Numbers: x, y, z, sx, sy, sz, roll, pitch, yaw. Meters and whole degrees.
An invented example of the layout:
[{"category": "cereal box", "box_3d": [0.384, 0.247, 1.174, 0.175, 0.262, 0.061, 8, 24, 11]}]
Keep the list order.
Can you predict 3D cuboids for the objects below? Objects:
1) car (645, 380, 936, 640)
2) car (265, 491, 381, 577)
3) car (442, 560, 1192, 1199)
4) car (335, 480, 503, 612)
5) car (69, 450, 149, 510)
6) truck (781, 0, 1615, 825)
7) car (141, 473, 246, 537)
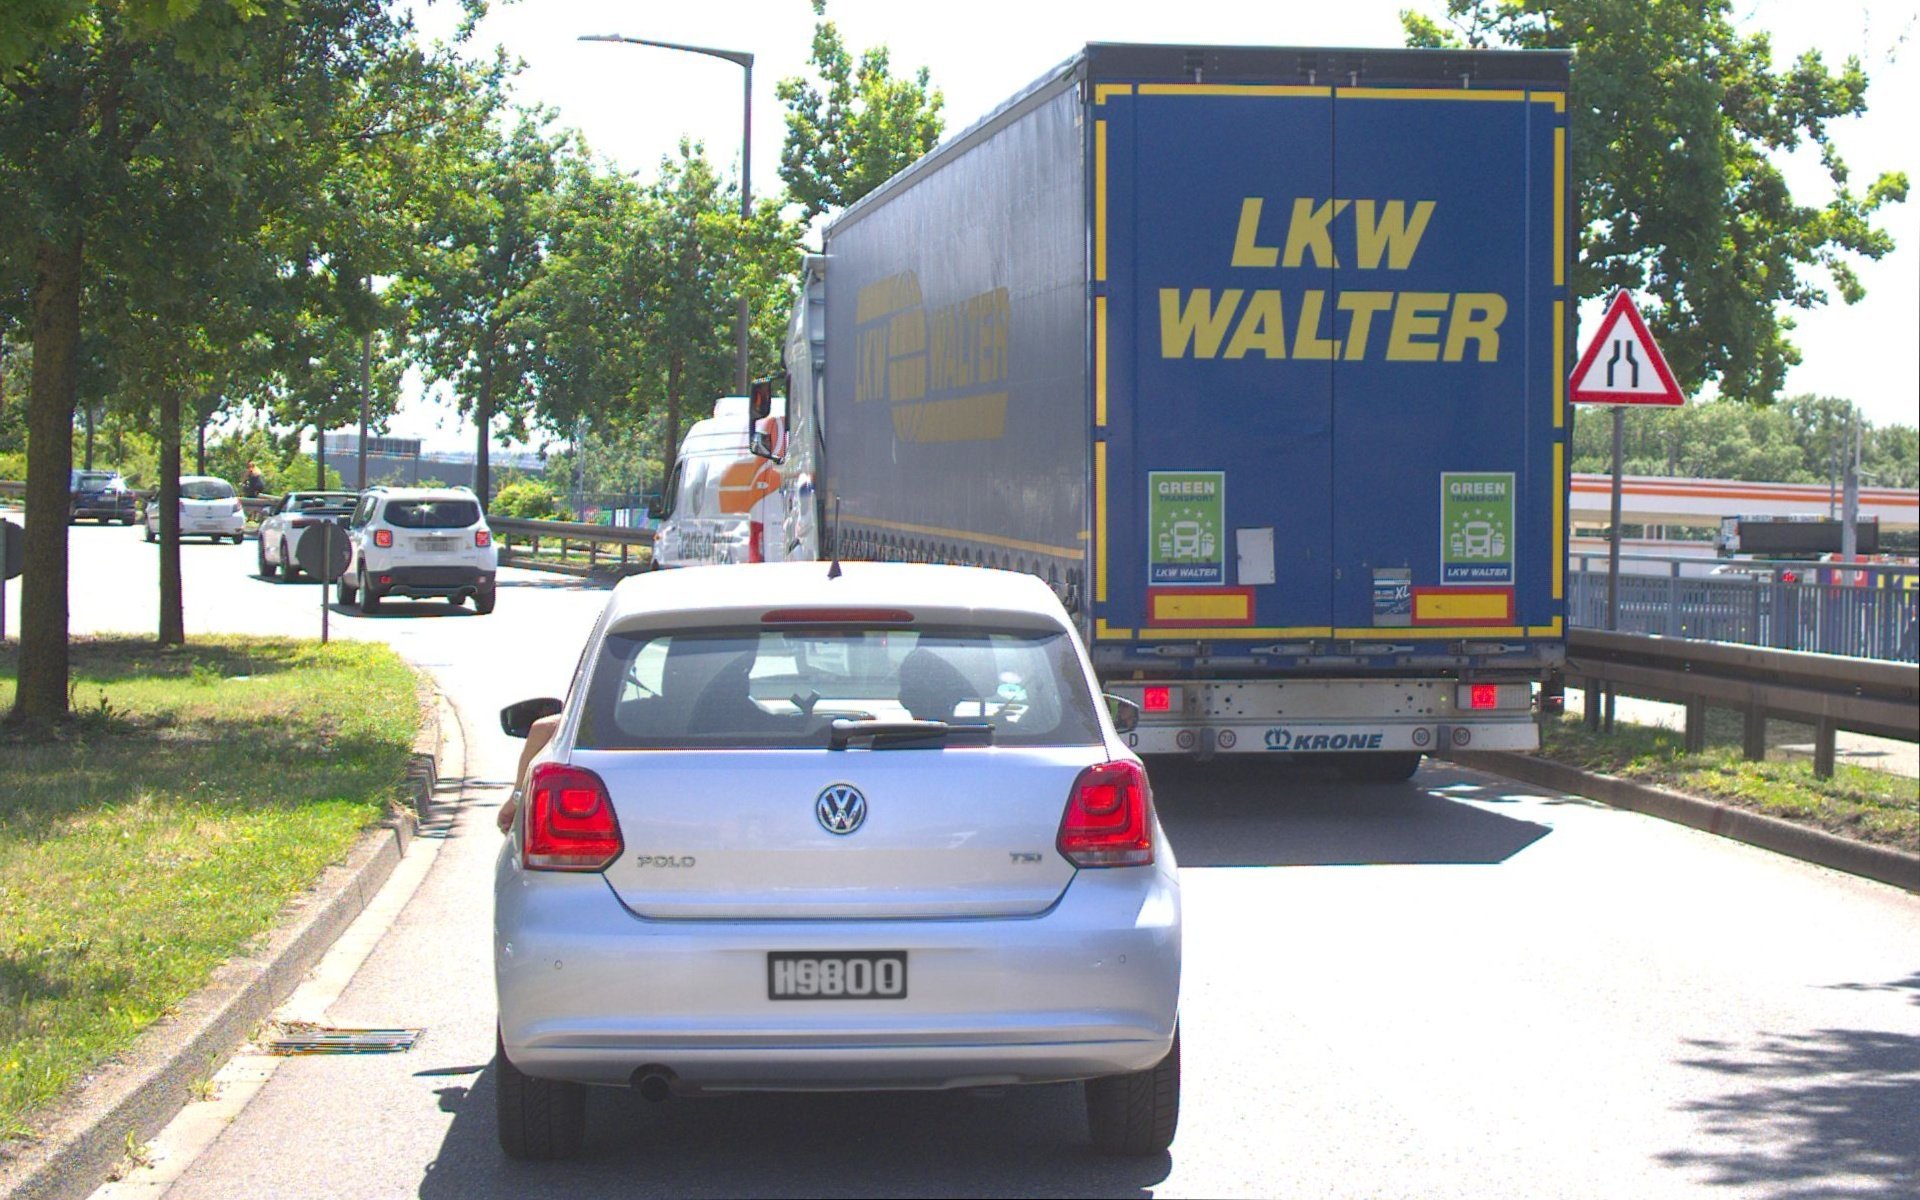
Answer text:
[{"category": "car", "box_3d": [-2.187, -1.139, 41.952, 2.175, 2.890, 6.361, 1, 2, -15]}, {"category": "car", "box_3d": [-10.625, -1.107, 57.174, 1.494, 1.355, 3.664, 1, 1, -17]}, {"category": "car", "box_3d": [-0.389, 0.625, 9.427, 1.646, 1.434, 3.537, 1, 0, -2]}, {"category": "car", "box_3d": [-7.503, -0.737, 47.376, 1.903, 1.712, 4.225, 1, 0, -14]}, {"category": "car", "box_3d": [-22.387, -3.140, 90.402, 1.664, 1.460, 3.582, 1, 1, -20]}, {"category": "truck", "box_3d": [0.805, -1.149, 25.645, 2.832, 4.184, 16.479, 1, 1, -8]}, {"category": "car", "box_3d": [-17.152, -2.132, 76.840, 1.607, 1.355, 3.663, 1, 1, -23]}]
